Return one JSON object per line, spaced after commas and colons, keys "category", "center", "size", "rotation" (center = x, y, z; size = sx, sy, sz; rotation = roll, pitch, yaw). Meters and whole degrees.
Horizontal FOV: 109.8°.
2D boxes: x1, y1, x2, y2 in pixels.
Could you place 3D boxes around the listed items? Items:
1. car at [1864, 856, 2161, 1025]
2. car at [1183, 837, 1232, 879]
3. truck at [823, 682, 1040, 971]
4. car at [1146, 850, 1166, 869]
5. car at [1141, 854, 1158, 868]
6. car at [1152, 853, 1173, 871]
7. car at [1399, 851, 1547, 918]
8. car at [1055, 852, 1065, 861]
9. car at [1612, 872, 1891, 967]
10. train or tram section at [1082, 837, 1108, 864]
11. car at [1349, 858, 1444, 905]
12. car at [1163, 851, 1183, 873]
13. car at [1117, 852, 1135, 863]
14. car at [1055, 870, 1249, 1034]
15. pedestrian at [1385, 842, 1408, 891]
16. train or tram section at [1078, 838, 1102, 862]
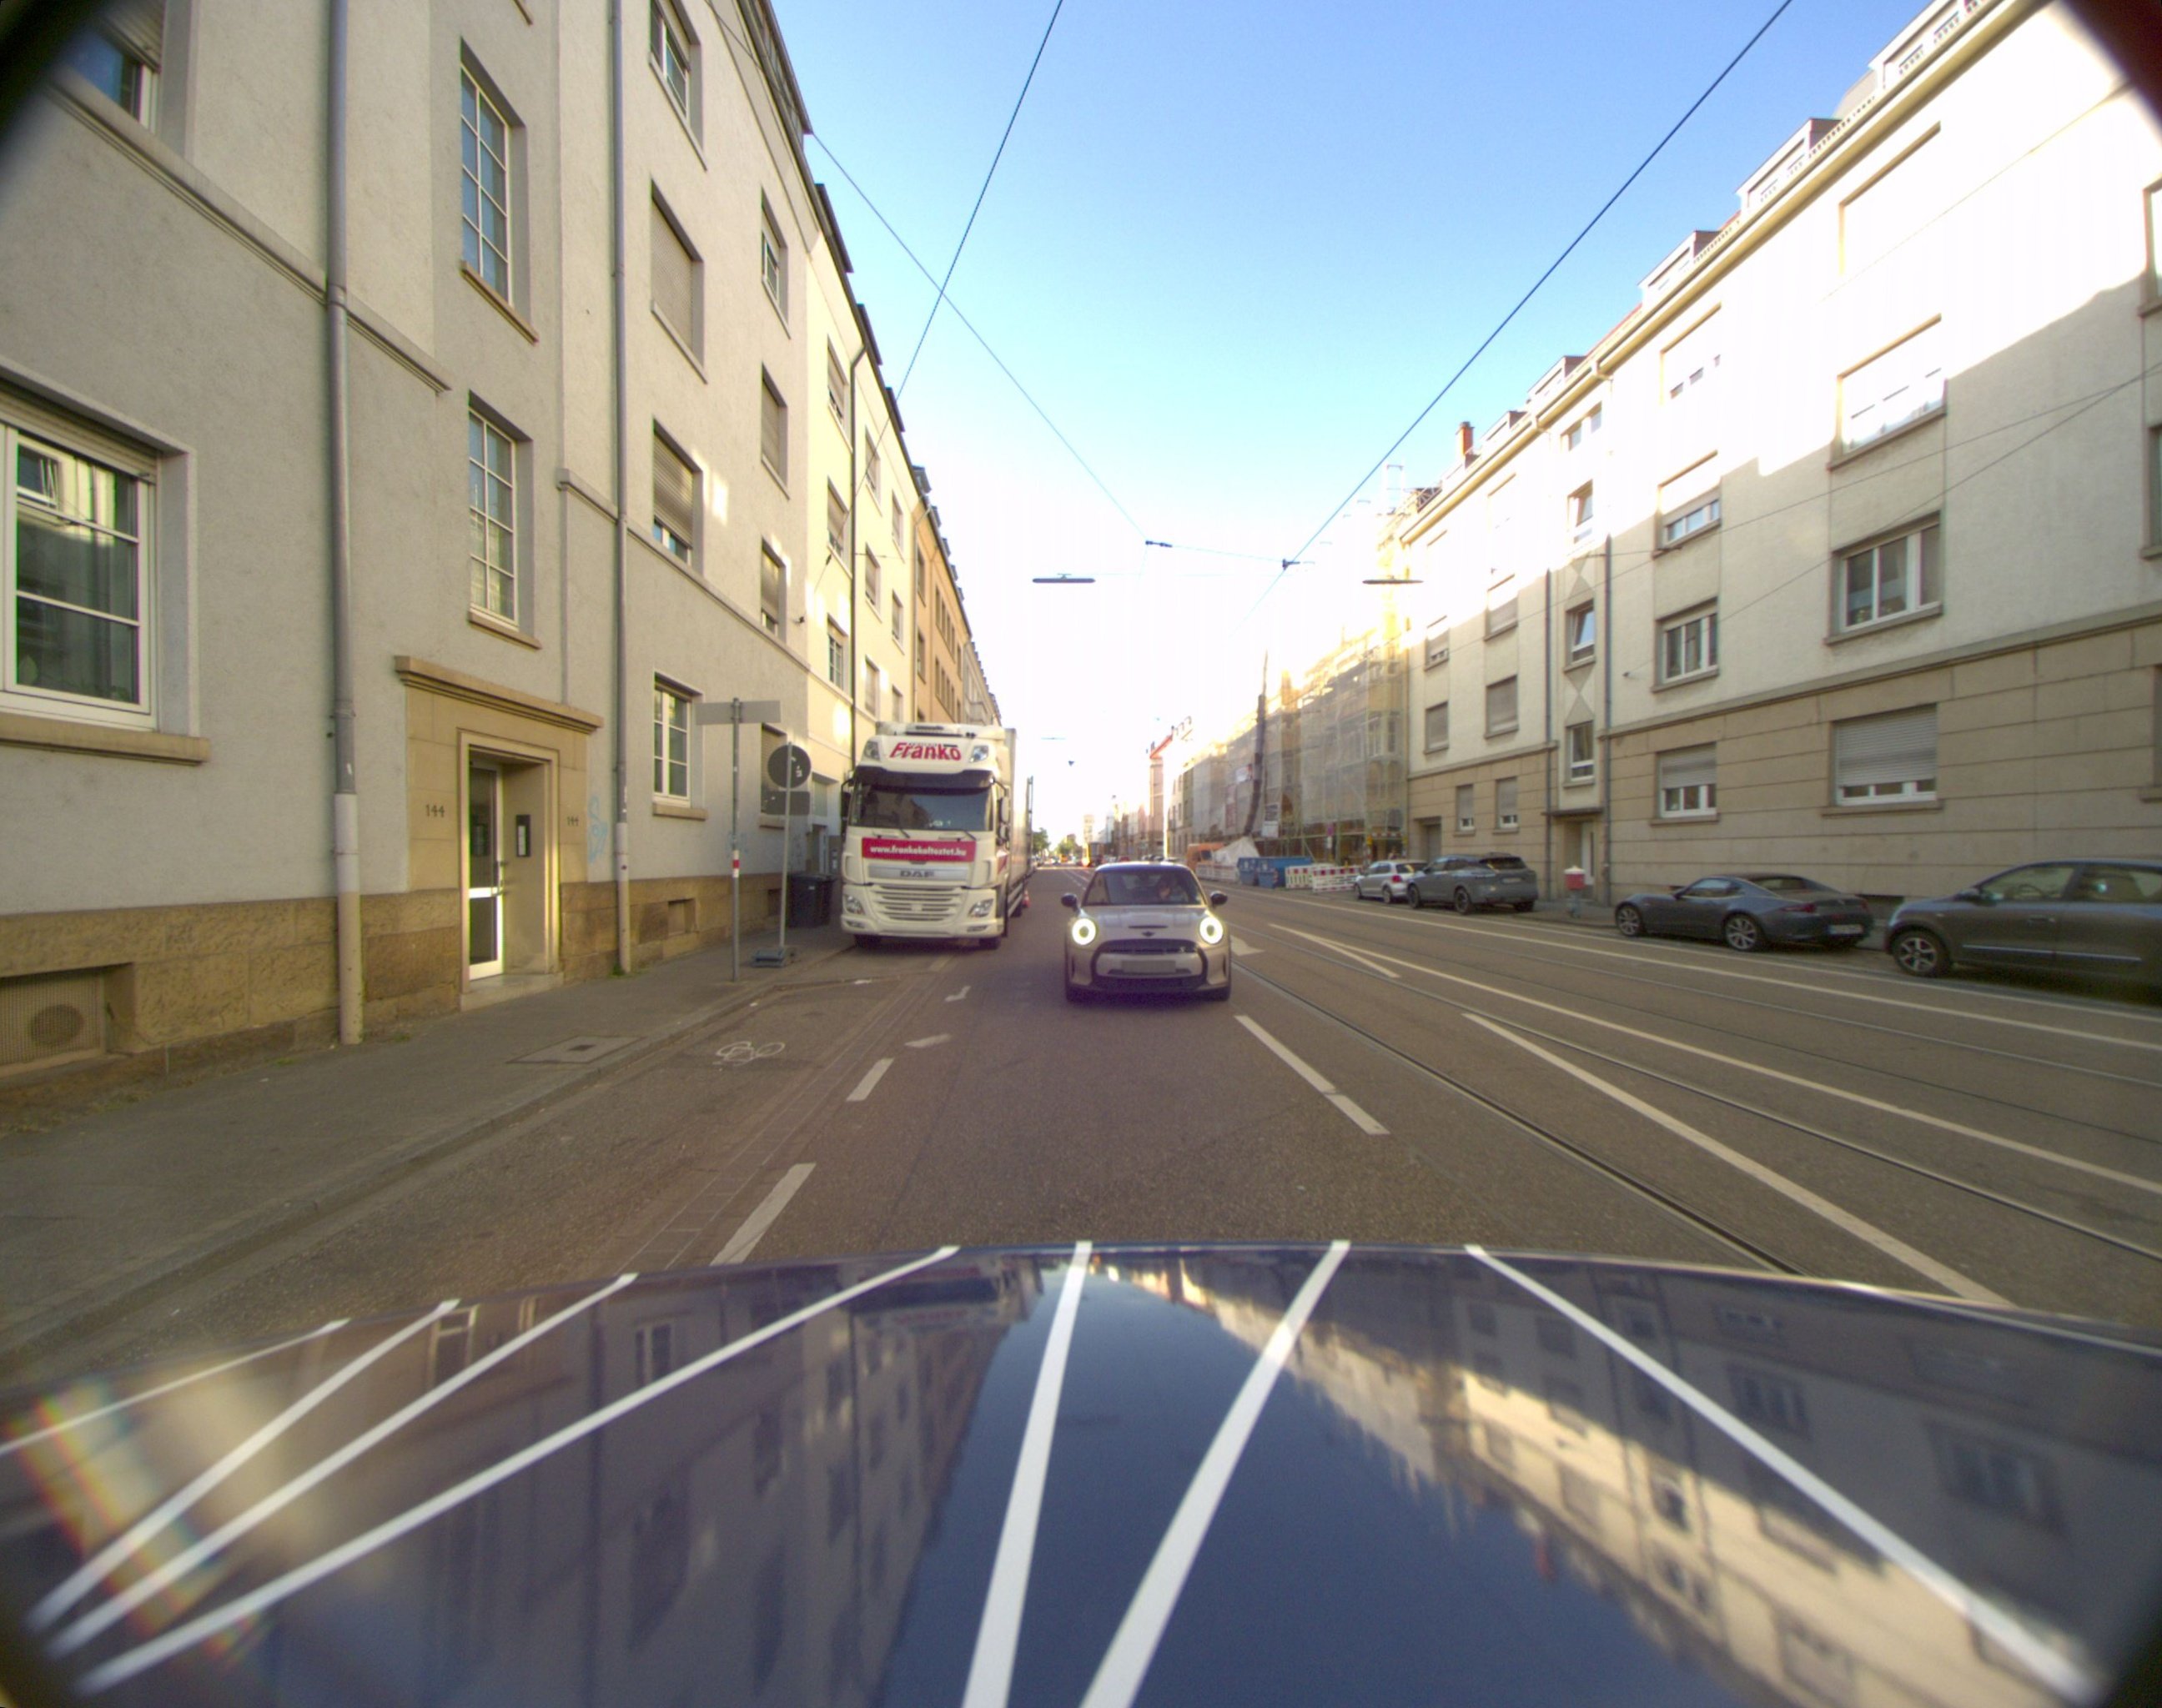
{"category": "car", "center": [11.361, 0.859, 8.382], "size": [1.644, 1.549, 3.594], "rotation": [-3, 1, -2]}
{"category": "car", "center": [8.807, 0.247, 53.353], "size": [2.215, 2.681, 5.871], "rotation": [-2, 1, -2]}
{"category": "truck", "center": [-2.493, -0.501, 16.991], "size": [2.700, 4.214, 11.773], "rotation": [0, 1, -1]}
{"category": "car", "center": [8.188, 0.582, 83.314], "size": [1.570, 1.945, 4.183], "rotation": [-2, 1, -1]}
{"category": "car", "center": [7.967, 0.811, 88.193], "size": [1.532, 1.518, 3.599], "rotation": [-2, 1, -1]}
{"category": "car", "center": [8.250, 0.763, 77.006], "size": [1.570, 1.674, 3.935], "rotation": [-2, 1, -1]}
{"category": "car", "center": [10.819, 0.759, 21.329], "size": [1.752, 1.600, 4.157], "rotation": [-3, 1, -4]}
{"category": "car", "center": [-4.854, 0.538, 176.740], "size": [1.999, 1.871, 4.269], "rotation": [-2, 1, -4]}
{"category": "car", "center": [11.126, 1.005, 12.960], "size": [1.476, 1.212, 3.522], "rotation": [-3, 1, -4]}
{"category": "train or tram section", "center": [1.843, -0.571, 107.058], "size": [2.867, 3.542, 13.038], "rotation": [0, 1, -3]}
{"category": "car", "center": [10.607, 0.872, 25.809], "size": [1.565, 1.372, 3.506], "rotation": [-3, 1, -4]}
{"category": "car", "center": [8.580, 0.697, 71.078], "size": [1.658, 1.911, 3.766], "rotation": [-2, 1, 5]}
{"category": "car", "center": [7.061, 0.495, 119.489], "size": [2.231, 1.518, 4.959], "rotation": [-2, 1, -1]}
{"category": "car", "center": [0.627, 0.917, 8.718], "size": [1.727, 1.416, 3.817], "rotation": [0, -1, 0]}
{"category": "pedestrian", "center": [12.435, 0.483, 29.941], "size": [0.519, 1.861, 0.762], "rotation": [-2, 1, -2]}
{"category": "train or tram section", "center": [1.311, -0.689, 119.349], "size": [2.867, 3.542, 13.330], "rotation": [0, 1, -3]}
